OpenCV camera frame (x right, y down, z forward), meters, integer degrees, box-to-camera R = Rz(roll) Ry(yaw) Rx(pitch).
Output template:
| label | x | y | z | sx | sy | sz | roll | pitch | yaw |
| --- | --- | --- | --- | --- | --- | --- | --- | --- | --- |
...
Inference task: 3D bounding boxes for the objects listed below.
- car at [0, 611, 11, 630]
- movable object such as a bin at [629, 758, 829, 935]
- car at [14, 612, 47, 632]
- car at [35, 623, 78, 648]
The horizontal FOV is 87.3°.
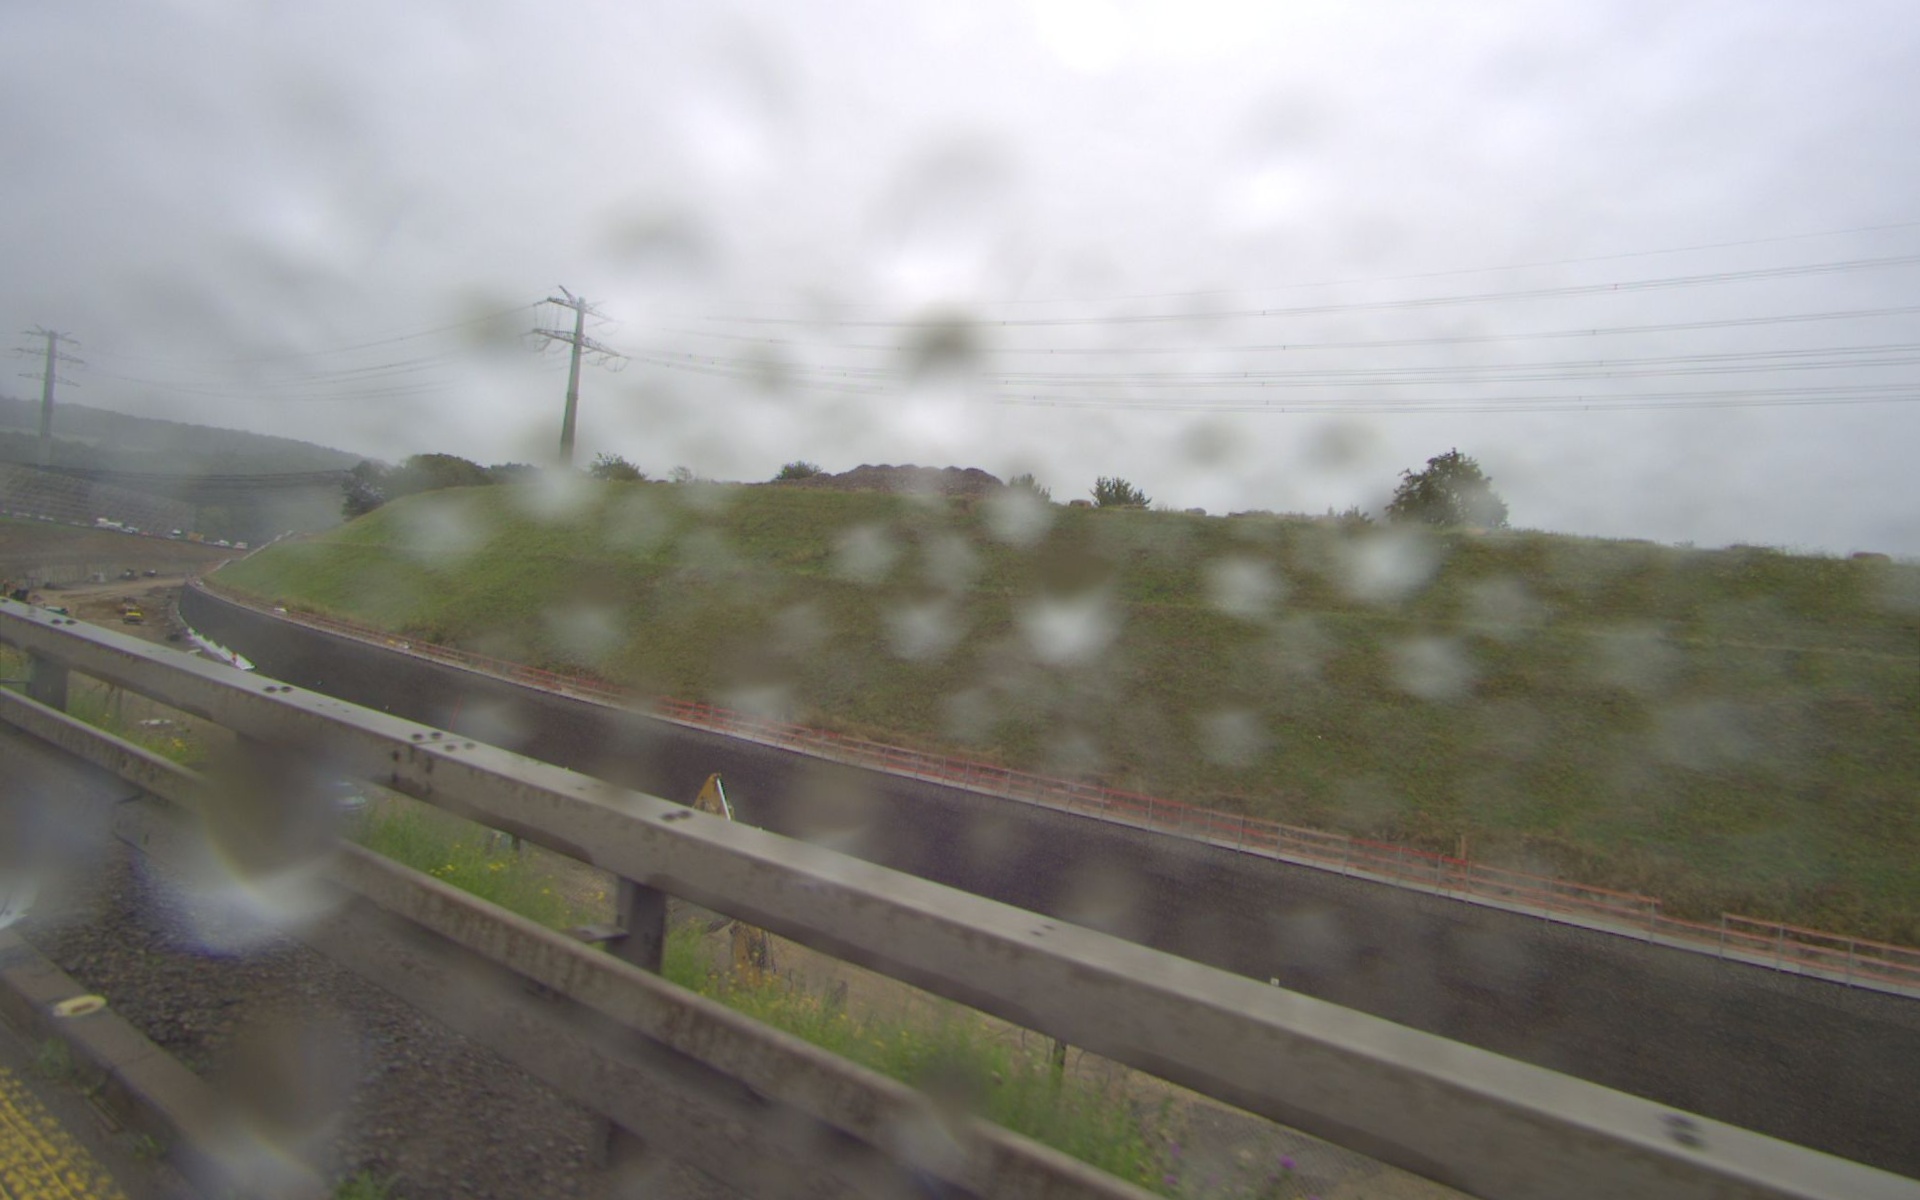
| label | x | y | z | sx | sy | sz | roll | pitch | yaw |
| --- | --- | --- | --- | --- | --- | --- | --- | --- | --- |
| car | -125.748 | 2.633 | 131.749 | 1.989 | 2.036 | 3.950 | 10 | -2 | -44 |
| movable object such as a bin | -6.655 | 6.938 | 29.209 | 4.052 | 3.910 | 3.223 | 8 | -2 | 30 |
| car | -111.512 | 2.643 | 120.701 | 3.937 | 1.837 | 1.995 | 6 | -1 | 35 |
| car | -98.480 | 3.896 | 109.656 | 3.935 | 2.036 | 2.369 | 7 | -2 | 33 |
